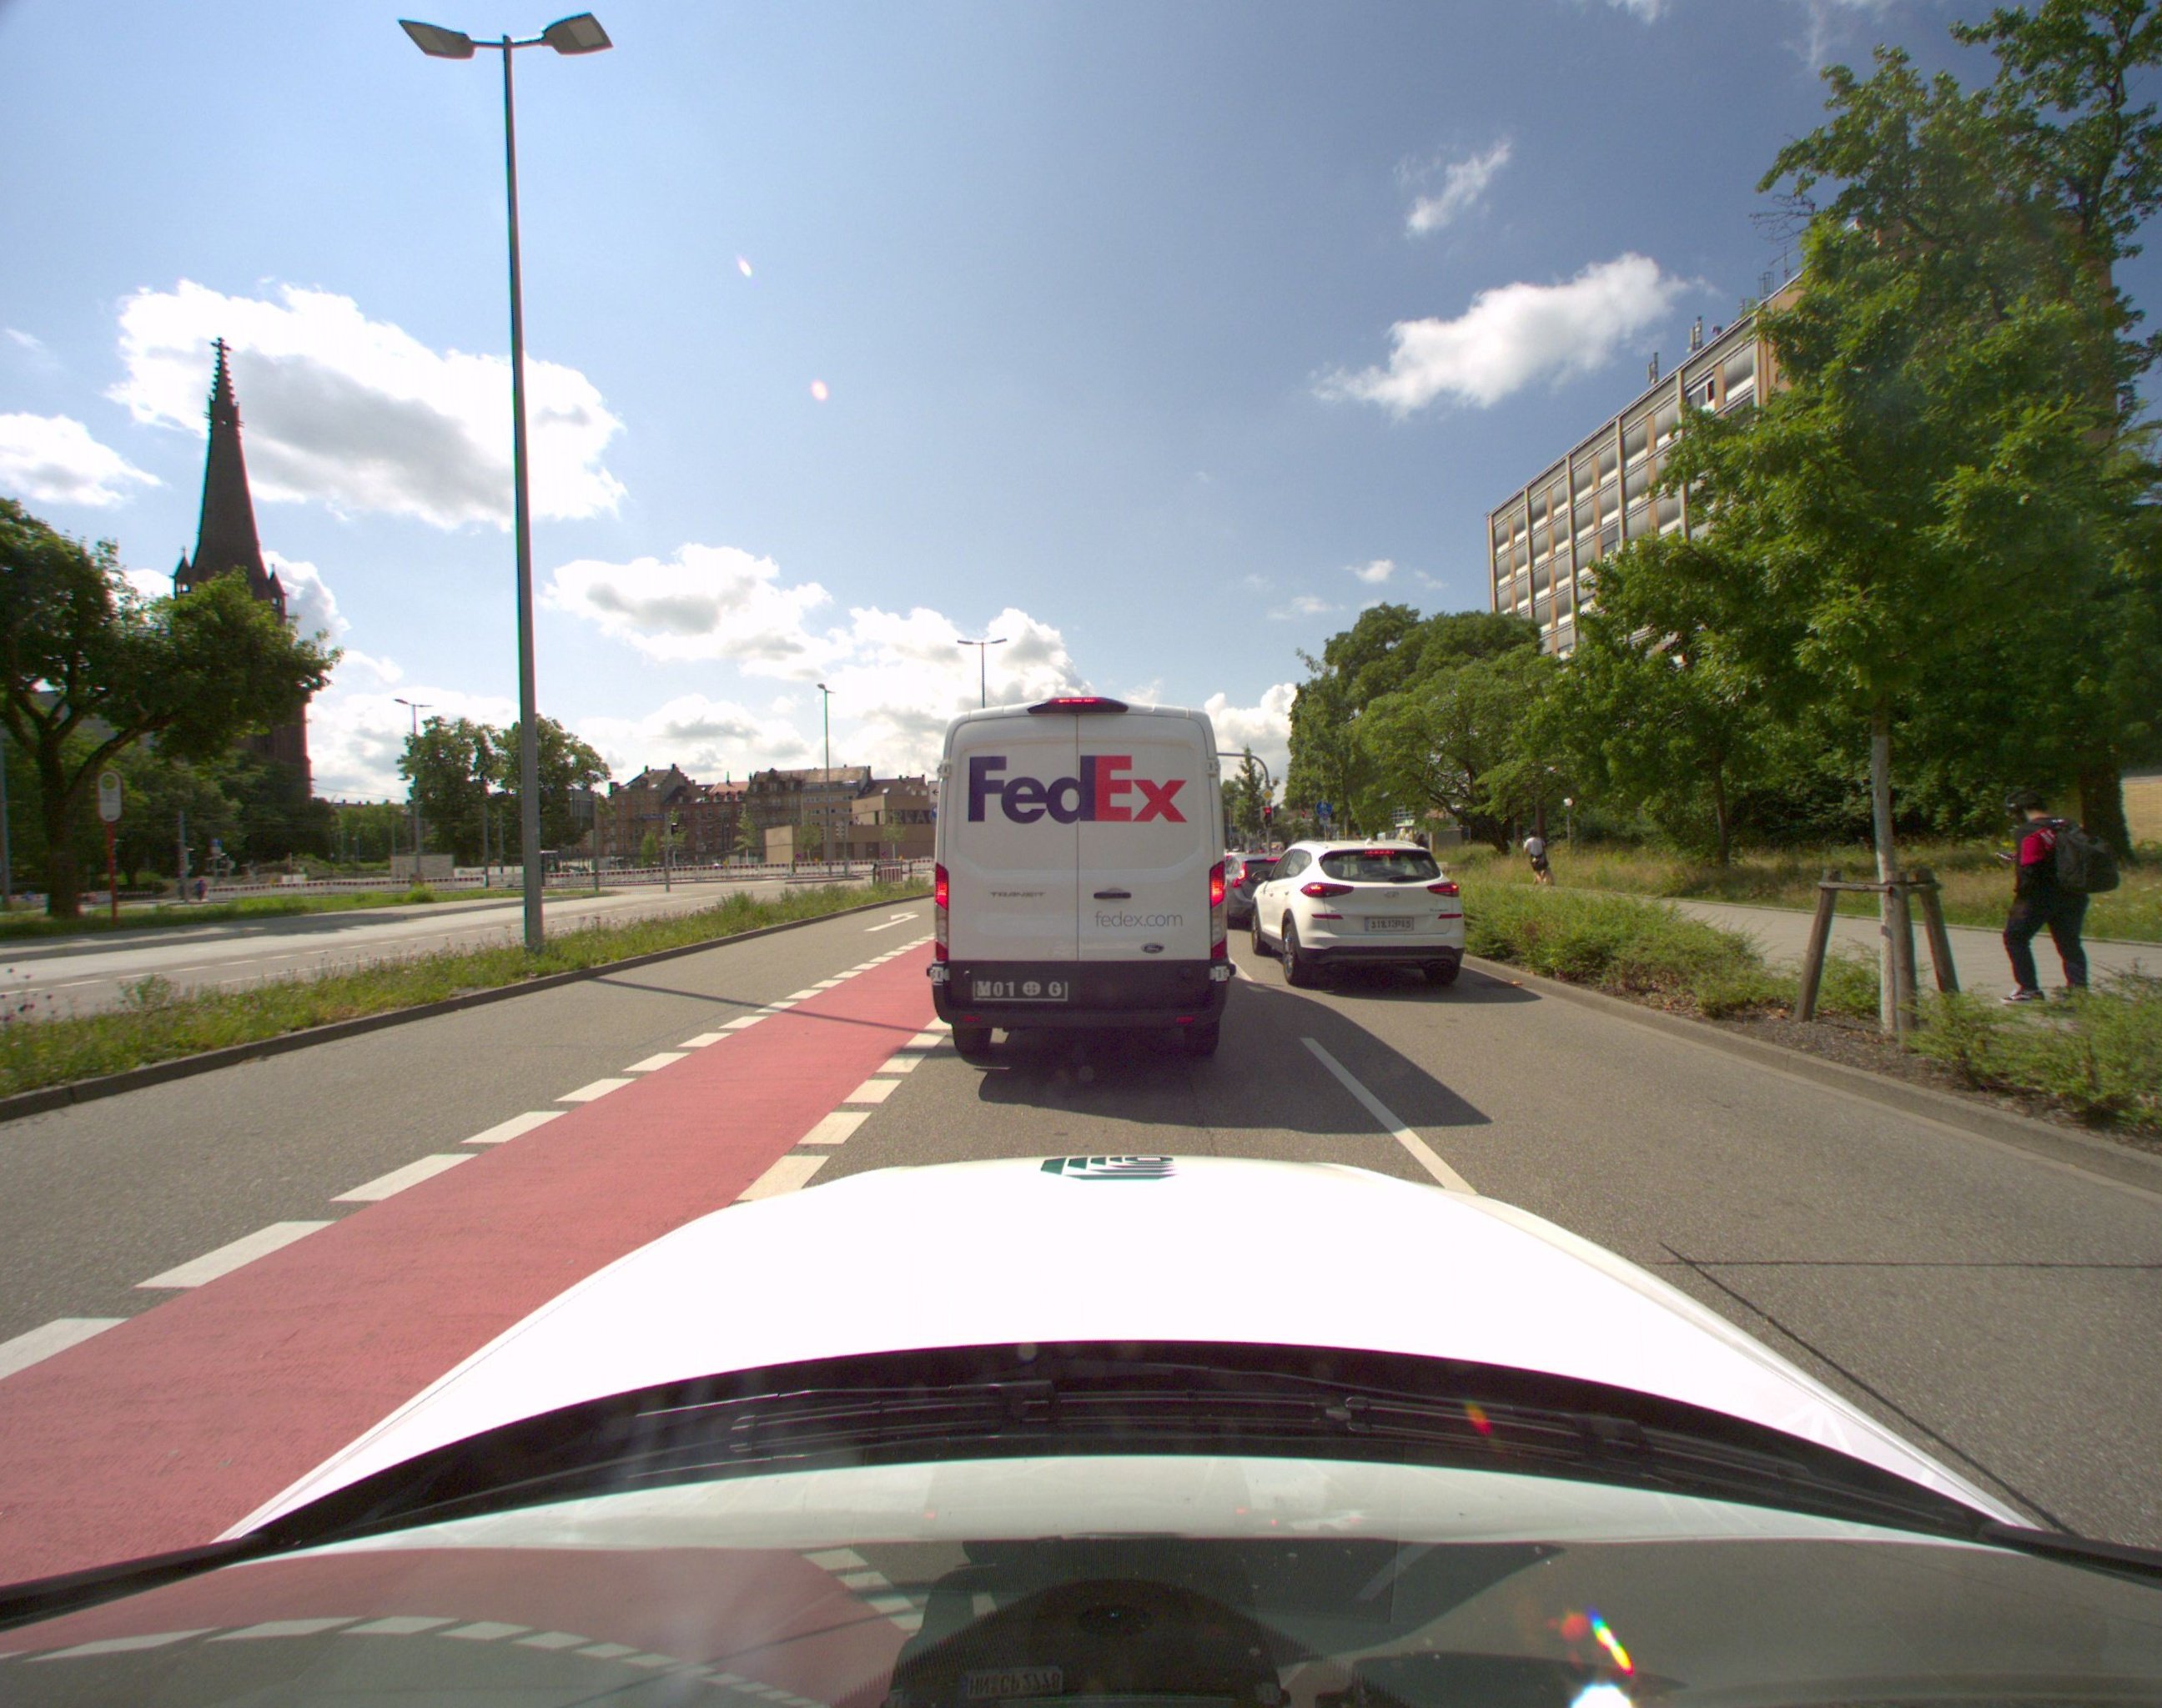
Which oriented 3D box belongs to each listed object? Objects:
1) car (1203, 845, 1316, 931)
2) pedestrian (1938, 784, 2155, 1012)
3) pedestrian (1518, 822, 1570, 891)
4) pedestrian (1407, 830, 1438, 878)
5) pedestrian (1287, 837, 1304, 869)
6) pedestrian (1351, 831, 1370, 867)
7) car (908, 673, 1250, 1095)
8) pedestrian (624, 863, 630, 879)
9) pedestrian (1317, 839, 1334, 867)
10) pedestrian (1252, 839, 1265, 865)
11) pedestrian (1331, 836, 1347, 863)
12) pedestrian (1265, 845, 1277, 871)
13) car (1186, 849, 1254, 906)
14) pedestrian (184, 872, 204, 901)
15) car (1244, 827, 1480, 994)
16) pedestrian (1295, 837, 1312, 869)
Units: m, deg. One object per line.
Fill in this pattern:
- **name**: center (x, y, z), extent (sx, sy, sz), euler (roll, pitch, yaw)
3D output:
- **car**: center (3.580, 0.609, 16.914), extent (1.684, 1.549, 3.724), euler (-2, 0, 3)
- **pedestrian**: center (7.657, 0.332, 6.512), extent (0.753, 1.684, 0.819), euler (-2, 0, 13)
- **pedestrian**: center (10.864, 0.062, 19.134), extent (0.755, 1.557, 0.817), euler (-2, 0, 3)
- **pedestrian**: center (12.270, -0.008, 29.282), extent (0.755, 1.655, 0.817), euler (-2, 0, 5)
- **pedestrian**: center (12.491, -0.057, 47.522), extent (0.755, 1.849, 0.817), euler (-2, 0, 3)
- **pedestrian**: center (14.281, -0.238, 41.611), extent (0.754, 1.789, 0.818), euler (-2, 0, 10)
- **car**: center (0.114, 0.179, 7.302), extent (2.064, 2.581, 4.432), euler (-2, 0, 3)
- **pedestrian**: center (-46.896, 1.726, 84.076), extent (0.420, 1.652, 0.420), euler (-1, -1, 36)
- **pedestrian**: center (16.744, -0.058, 55.806), extent (0.758, 1.849, 0.814), euler (-2, 0, -8)
- **pedestrian**: center (13.018, -0.148, 59.806), extent (0.810, 1.849, 0.762), euler (-2, 0, 5)
- **pedestrian**: center (17.724, -0.298, 55.997), extent (0.758, 1.849, 0.814), euler (-2, 0, -6)
- **pedestrian**: center (13.717, 0.316, 58.885), extent (0.753, 1.849, 0.820), euler (-2, 0, 16)
- **car**: center (3.909, 0.608, 23.322), extent (1.493, 1.464, 3.477), euler (-2, 0, 3)
- **pedestrian**: center (-63.989, 2.322, 58.757), extent (0.629, 2.013, 0.648), euler (-2, 0, -4)
- **car**: center (3.286, 0.570, 10.383), extent (1.807, 1.678, 3.978), euler (-2, 0, 3)
- **pedestrian**: center (13.090, -0.035, 47.959), extent (0.755, 1.849, 0.817), euler (-2, 0, 5)
